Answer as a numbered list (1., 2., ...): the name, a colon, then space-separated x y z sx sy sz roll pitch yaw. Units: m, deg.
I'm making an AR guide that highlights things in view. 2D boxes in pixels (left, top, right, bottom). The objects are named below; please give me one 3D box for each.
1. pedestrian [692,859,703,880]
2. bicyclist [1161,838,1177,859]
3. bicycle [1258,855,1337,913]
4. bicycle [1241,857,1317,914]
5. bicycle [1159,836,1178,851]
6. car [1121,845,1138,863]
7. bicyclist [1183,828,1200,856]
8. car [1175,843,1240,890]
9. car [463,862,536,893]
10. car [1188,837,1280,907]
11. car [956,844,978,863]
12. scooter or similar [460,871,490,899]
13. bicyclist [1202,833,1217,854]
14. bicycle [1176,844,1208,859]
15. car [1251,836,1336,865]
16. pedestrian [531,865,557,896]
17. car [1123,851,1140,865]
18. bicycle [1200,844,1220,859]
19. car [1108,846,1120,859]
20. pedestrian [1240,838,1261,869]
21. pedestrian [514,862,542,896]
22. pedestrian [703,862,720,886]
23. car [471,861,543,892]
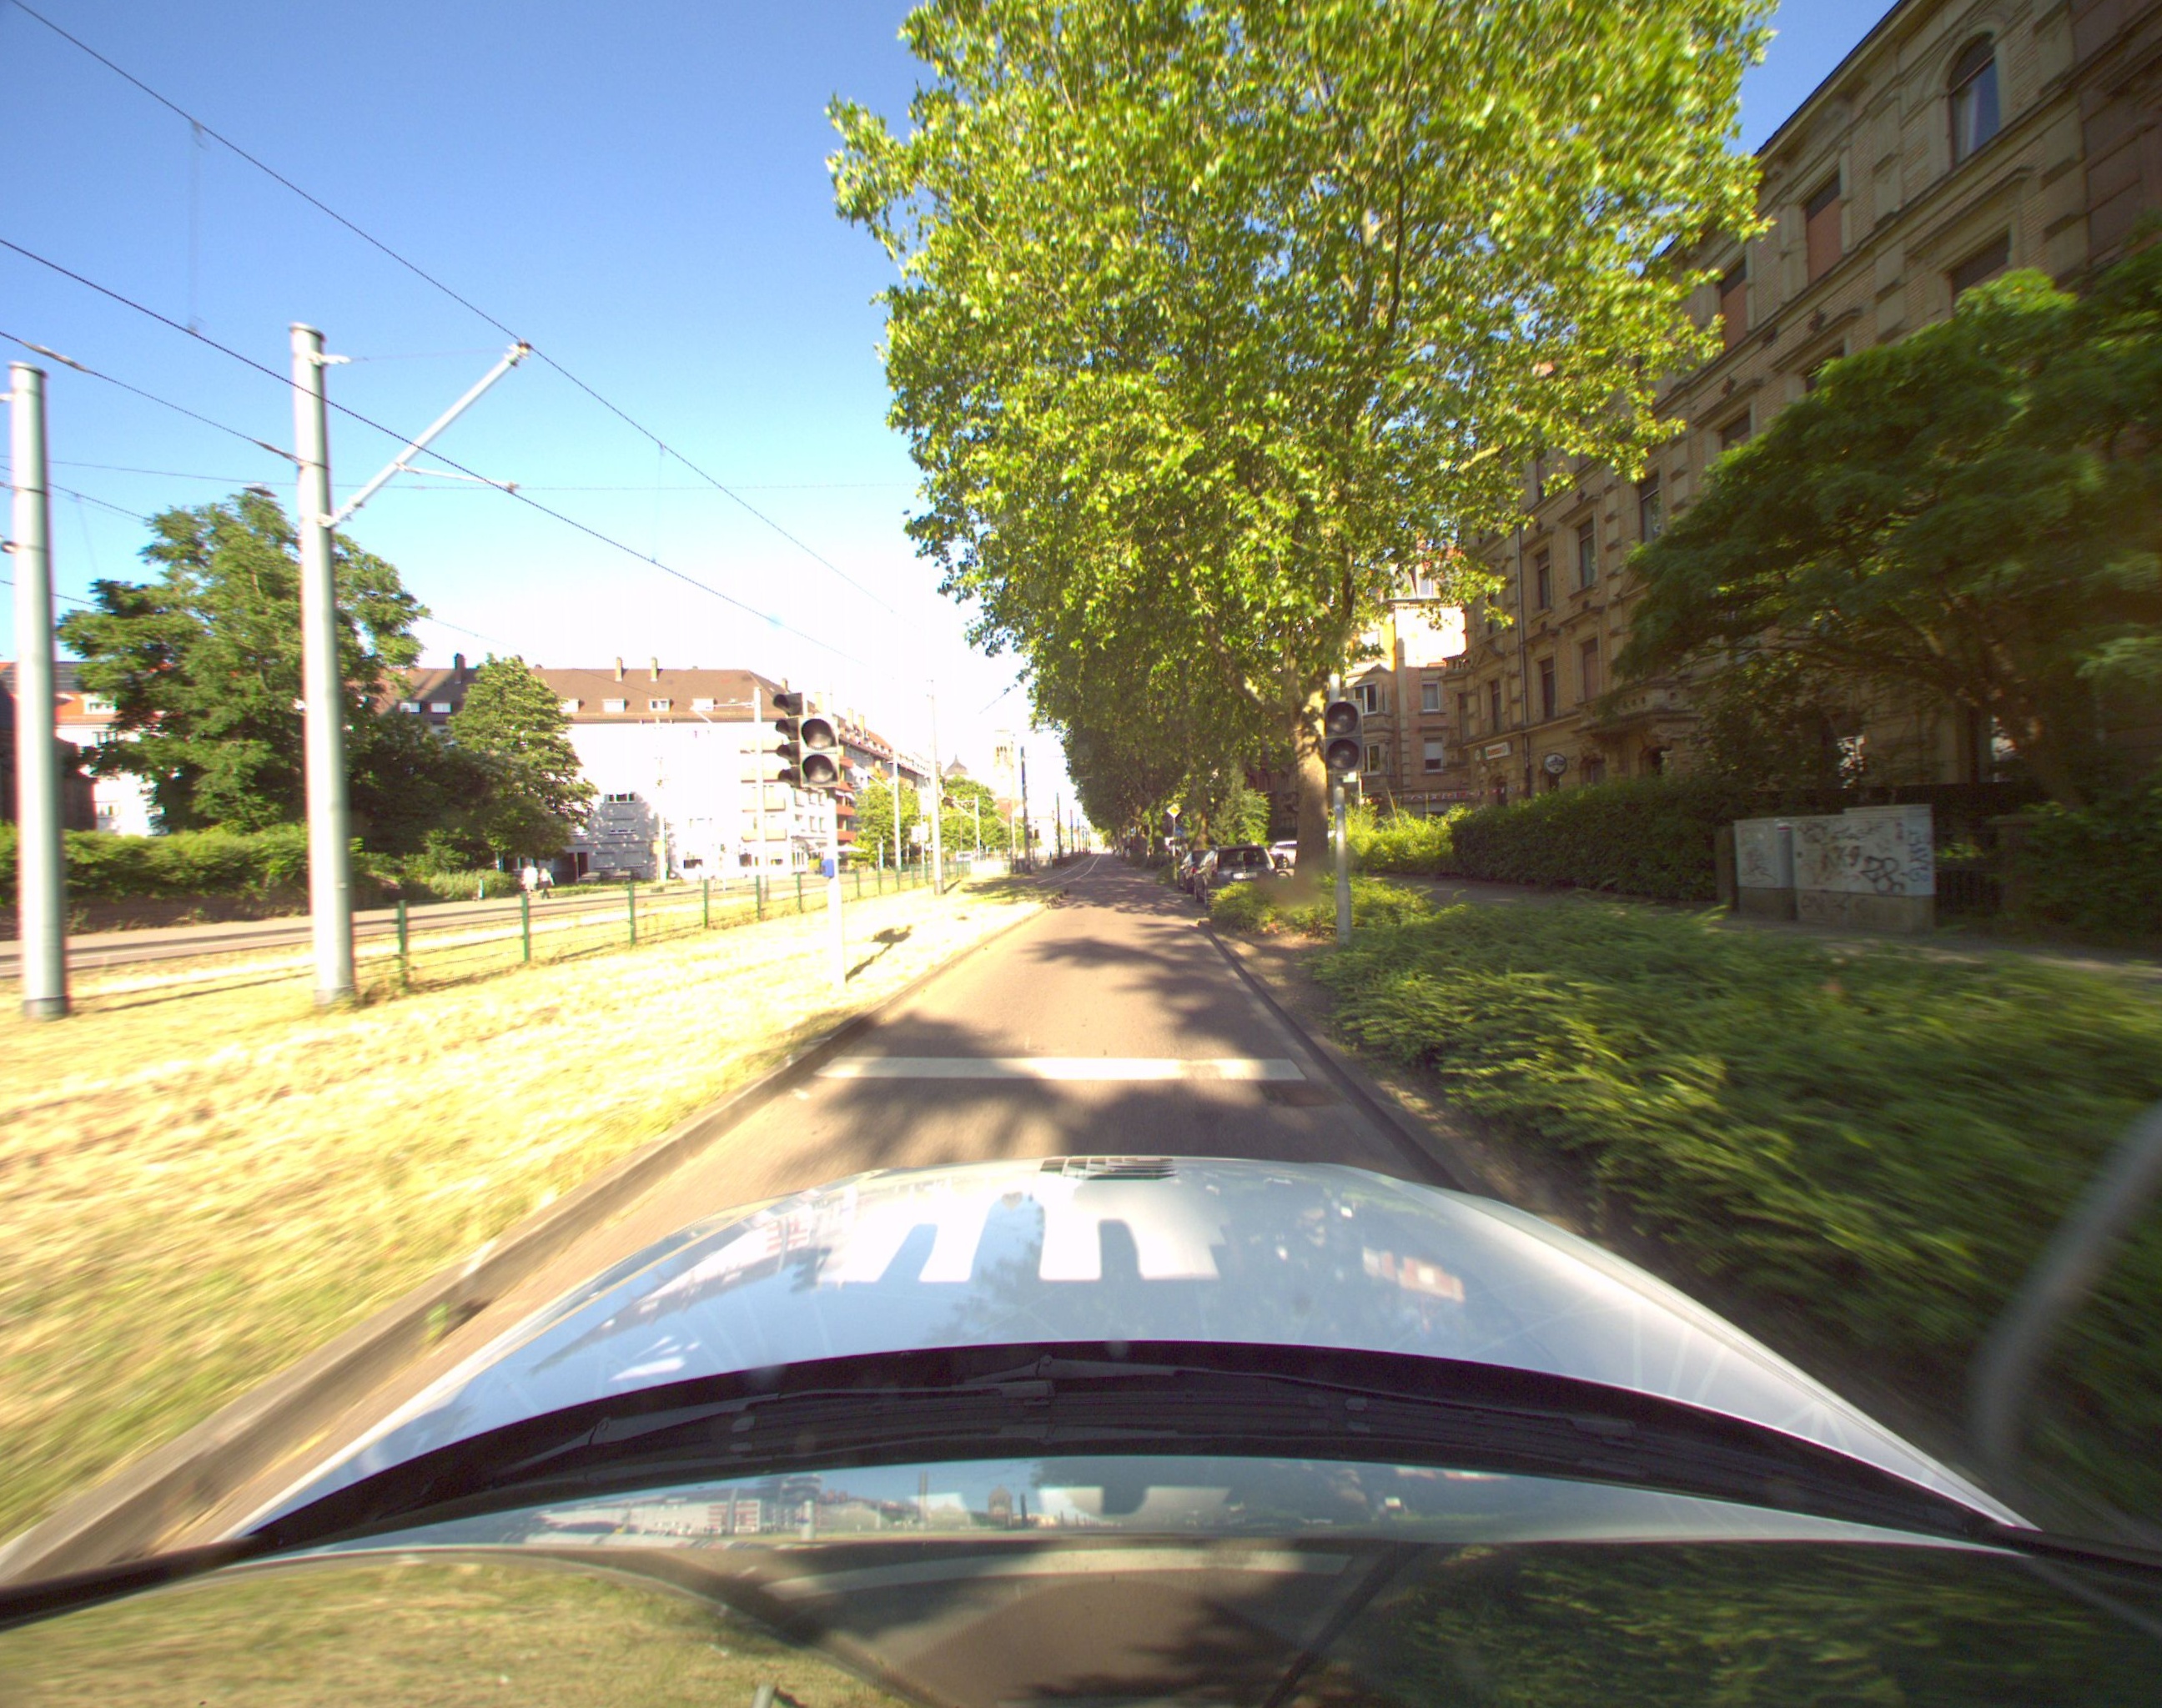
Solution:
1. pedestrian: -28.634 1.131 60.774 0.592 1.467 0.908 -4 3 -28
2. bicyclist: 6.236 -0.397 57.878 0.813 1.404 1.078 -3 3 -7
3. bicycle: 4.444 0.593 16.701 1.605 1.025 0.537 -5 3 -28
4. bicycle: 4.184 0.641 17.187 1.605 1.042 0.504 -5 3 -28
5. bicycle: 6.221 -0.765 57.933 0.813 0.957 2.312 -3 3 -7
6. car: 5.840 0.032 97.847 1.986 2.107 4.002 0 -1 2
7. bicyclist: 7.978 -0.871 58.831 1.137 1.890 0.682 -3 3 1
8. car: 4.155 0.372 27.270 1.637 1.373 4.185 -3 0 2
9. car: -45.276 1.806 63.518 3.987 2.013 1.994 -3 3 -10
10. car: 3.756 0.391 20.661 1.637 1.511 4.185 -3 0 2
11. car: -13.816 -0.036 98.874 1.988 2.013 3.999 -3 3 -1
12. scooter or similar: -29.345 1.486 39.452 0.400 1.261 1.231 -3 3 2
13. bicyclist: 9.402 -0.777 59.627 0.813 1.404 0.823 -3 3 -7
14. bicycle: 8.016 -0.168 58.876 2.233 0.976 0.682 -2 3 0
15. car: 11.548 -0.193 44.359 3.984 1.420 1.995 -3 0 -8
16. pedestrian: -27.049 1.330 41.041 0.587 1.467 0.917 -3 3 2
17. car: 5.548 0.457 89.091 1.787 1.510 4.002 0 -1 2
18. bicycle: 9.432 -0.196 59.712 0.813 0.957 2.312 -3 3 -7
19. car: 5.254 -0.235 130.282 1.986 2.107 4.002 0 -1 2
20. pedestrian: 9.633 -0.036 46.376 0.813 1.689 1.078 -3 3 -7
21. pedestrian: -27.718 1.245 40.798 0.641 1.598 0.899 -3 3 2
22. pedestrian: -23.587 1.290 52.054 0.685 1.467 0.592 -3 3 5
23. car: -45.100 1.768 64.027 3.987 2.013 1.994 -3 3 -10
